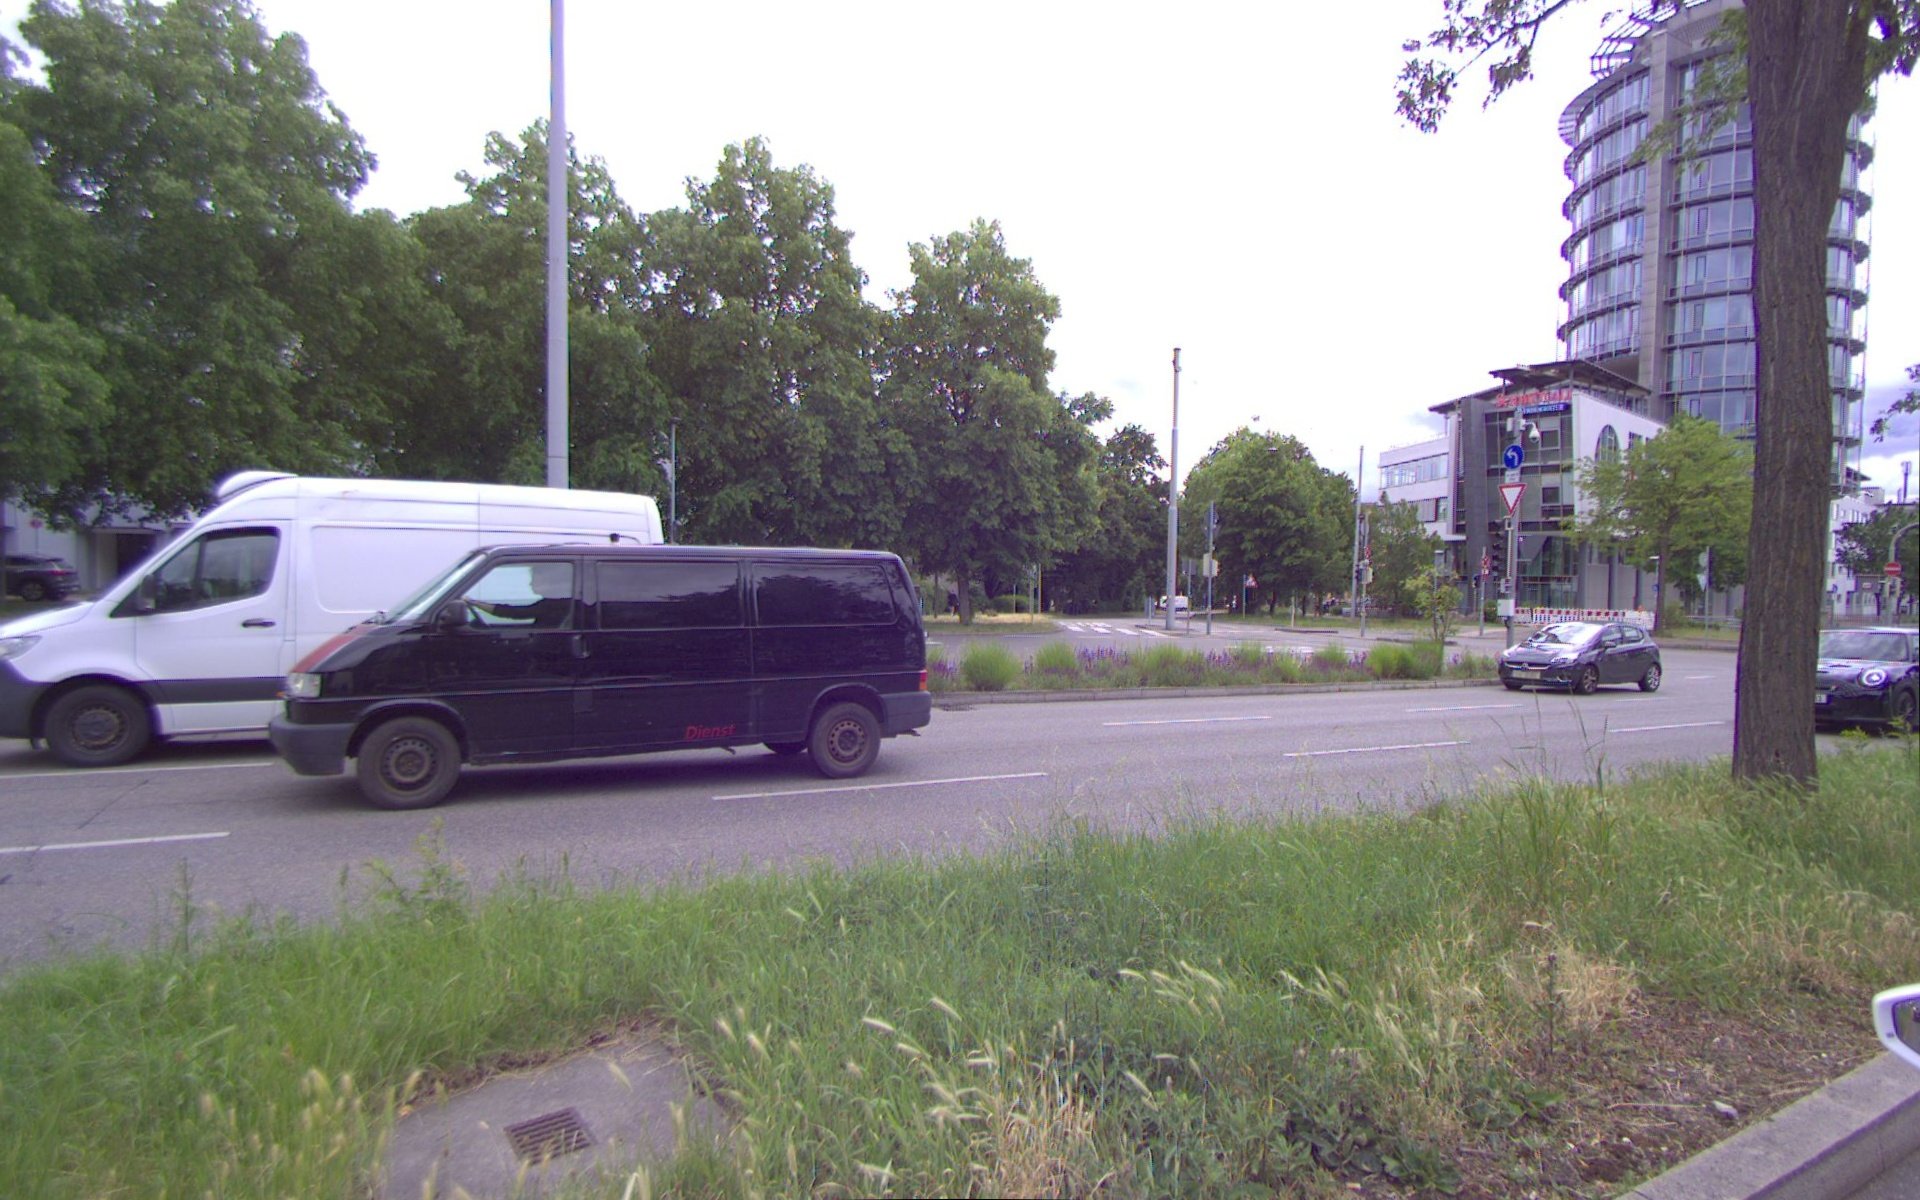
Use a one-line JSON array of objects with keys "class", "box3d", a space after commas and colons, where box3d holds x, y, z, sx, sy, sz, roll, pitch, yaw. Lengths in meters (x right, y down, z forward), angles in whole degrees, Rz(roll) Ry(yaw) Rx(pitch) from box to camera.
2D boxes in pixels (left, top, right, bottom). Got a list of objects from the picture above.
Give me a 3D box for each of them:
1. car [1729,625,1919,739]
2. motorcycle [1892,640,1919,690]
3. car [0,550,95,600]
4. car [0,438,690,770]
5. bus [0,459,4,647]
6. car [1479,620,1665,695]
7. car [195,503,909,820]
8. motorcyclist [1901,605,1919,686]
[{"class": "car", "box3d": [12.839, 1.084, 14.289, 3.735, 1.389, 1.745, 1, 0, -30]}, {"class": "motorcycle", "box3d": [22.590, 1.496, 23.196, 2.622, 1.078, 0.834, 1, 1, -30]}, {"class": "car", "box3d": [-31.971, -0.859, 33.583, 4.190, 1.602, 1.987, 1, 1, -25]}, {"class": "car", "box3d": [-5.898, 0.064, 10.237, 5.803, 2.669, 1.985, 1, 0, -29]}, {"class": "bus", "box3d": [-21.759, -0.913, 15.406, 9.778, 3.502, 3.021, 1, 2, -26]}, {"class": "car", "box3d": [12.975, 1.168, 21.252, 3.972, 1.438, 1.699, 1, 0, -30]}, {"class": "car", "box3d": [-3.039, 0.436, 8.258, 4.915, 1.943, 1.926, 1, -1, -30]}, {"class": "motorcyclist", "box3d": [22.489, 1.055, 23.128, 1.244, 1.861, 0.844, 1, 1, -30]}]
